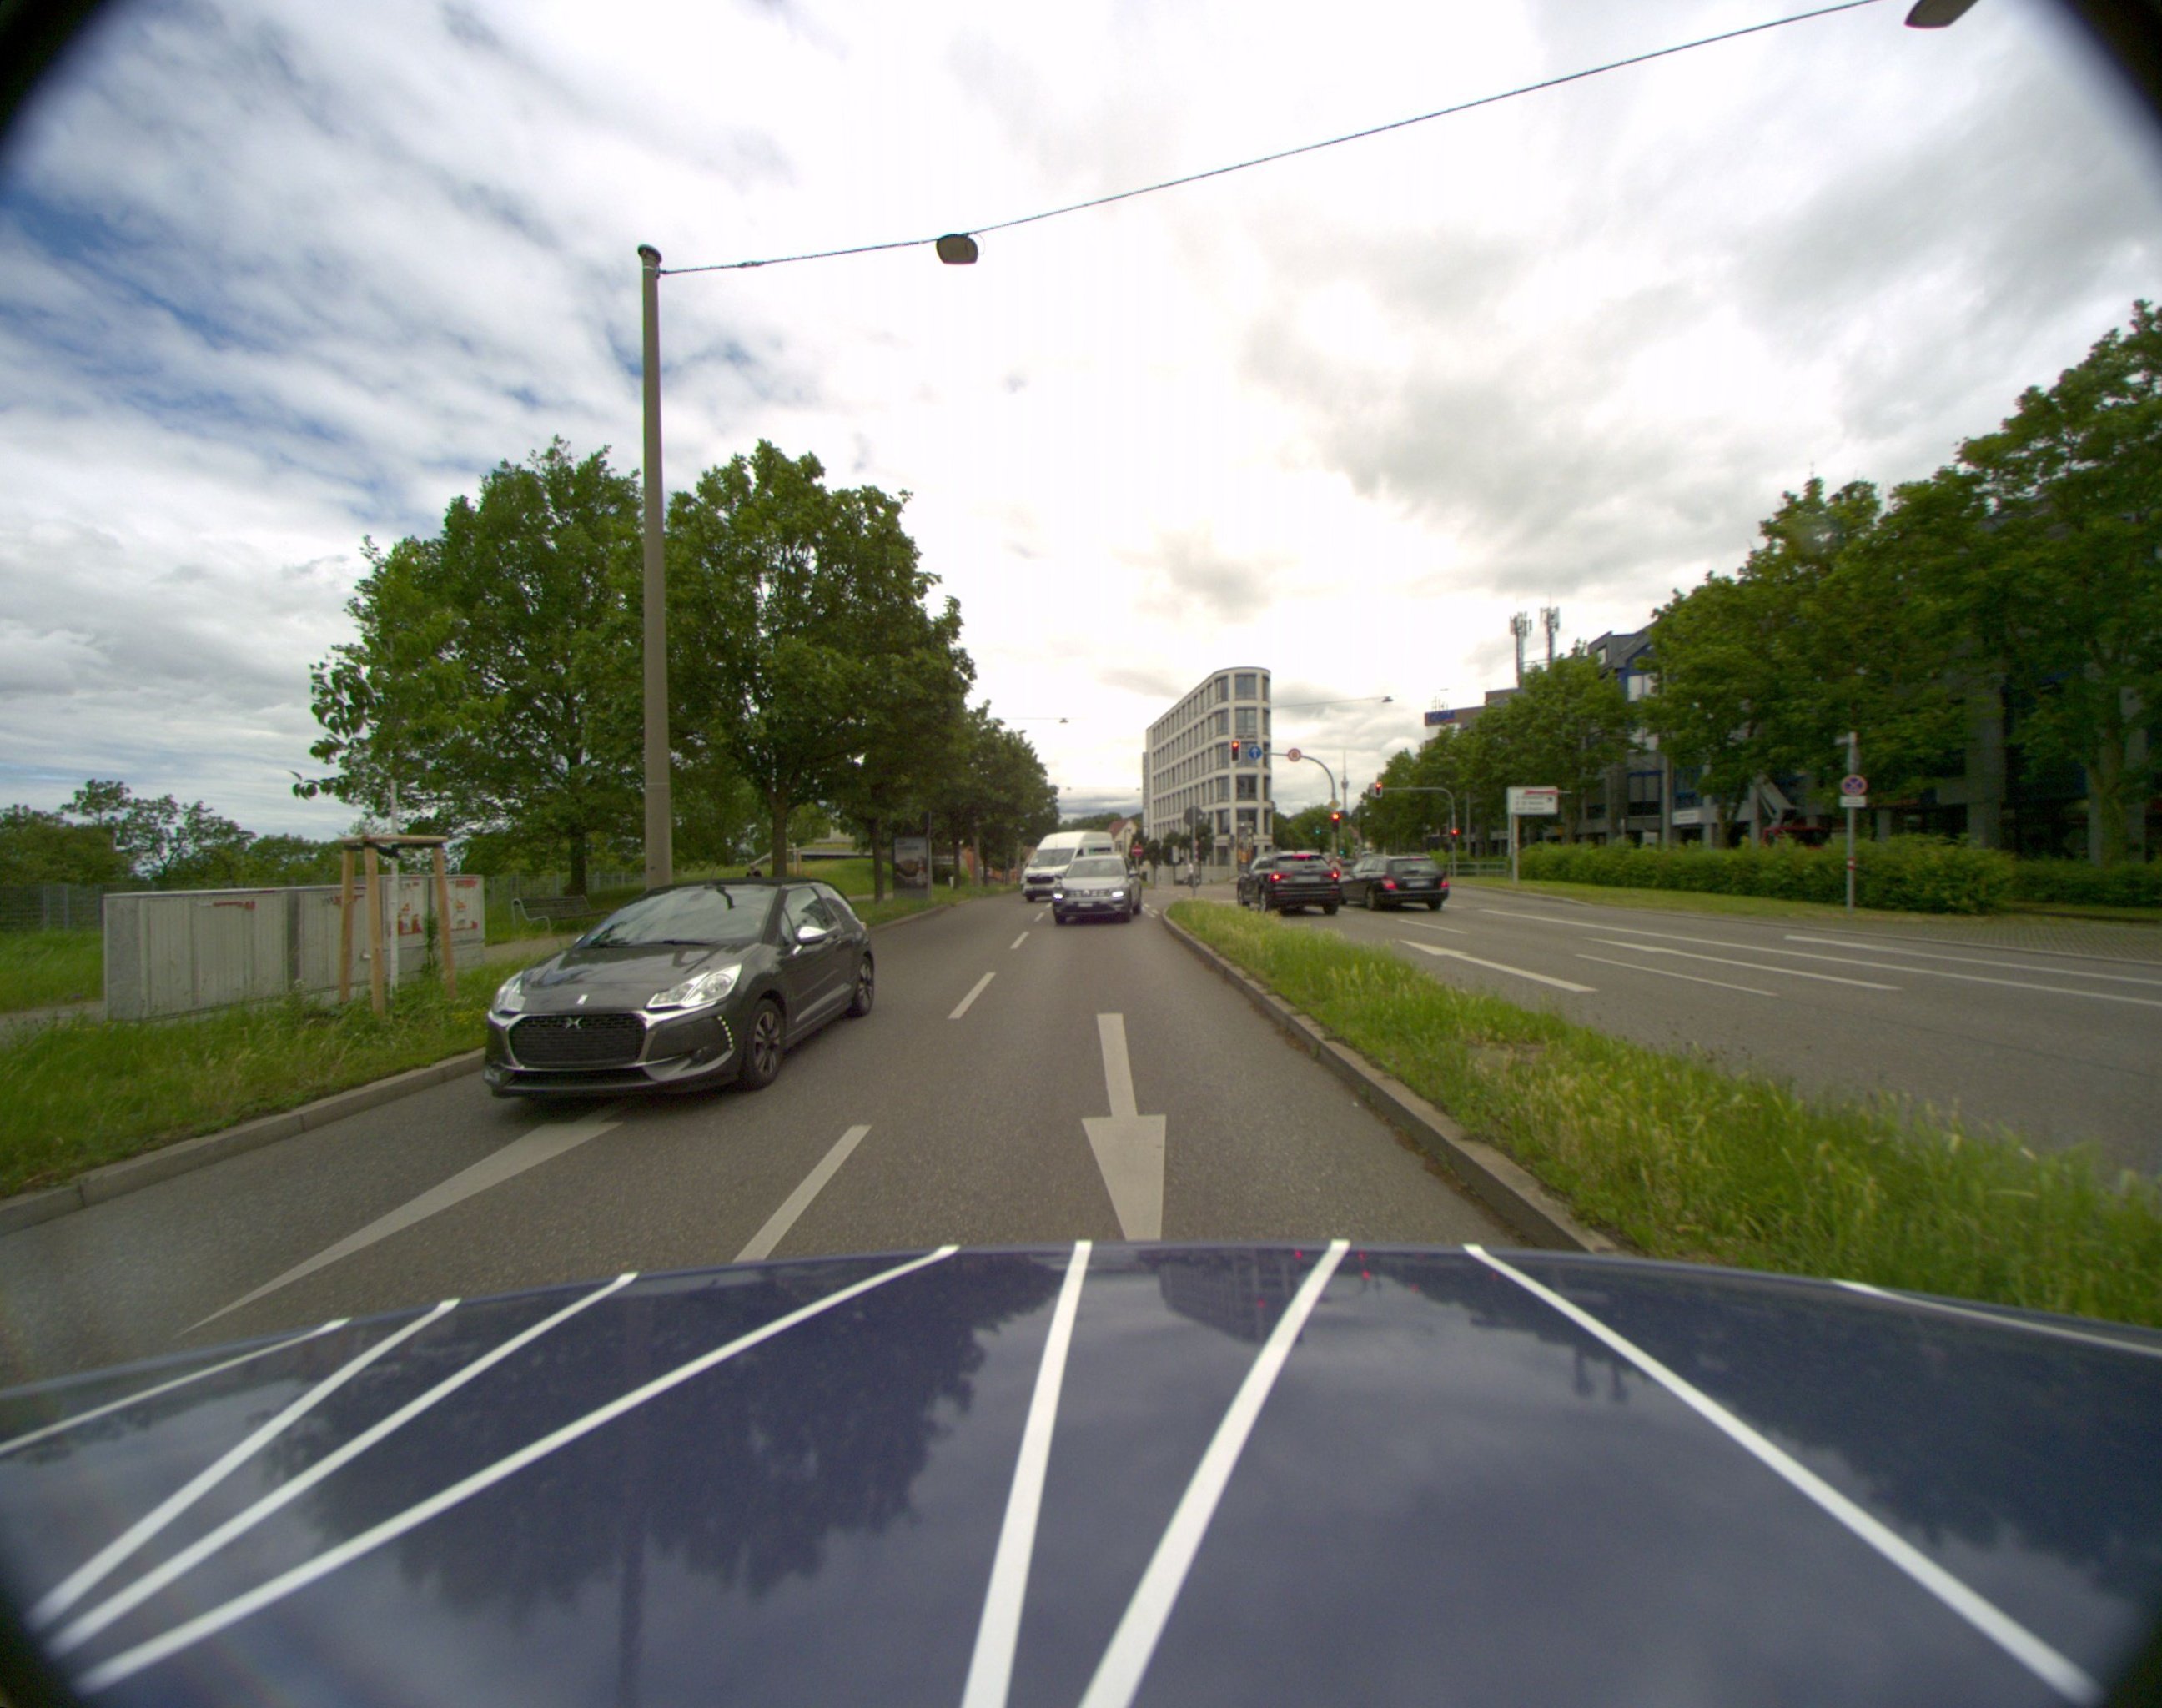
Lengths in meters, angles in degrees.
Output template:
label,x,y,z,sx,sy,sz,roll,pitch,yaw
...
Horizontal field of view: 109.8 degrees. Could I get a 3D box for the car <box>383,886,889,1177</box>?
label,x,y,z,sx,sy,sz,roll,pitch,yaw
car,-3.028,1.088,6.311,1.705,1.452,4.063,-2,-1,1

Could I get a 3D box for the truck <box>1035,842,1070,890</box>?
label,x,y,z,sx,sy,sz,roll,pitch,yaw
truck,-2.455,1.062,68.952,2.827,3.902,9.458,-2,-1,-1

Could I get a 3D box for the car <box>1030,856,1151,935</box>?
label,x,y,z,sx,sy,sz,roll,pitch,yaw
car,0.381,0.916,18.357,1.831,1.636,4.331,-2,-1,15

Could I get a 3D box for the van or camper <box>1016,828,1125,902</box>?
label,x,y,z,sx,sy,sz,roll,pitch,yaw
van or camper,-0.253,0.415,31.217,2.107,2.674,6.309,-2,-1,22

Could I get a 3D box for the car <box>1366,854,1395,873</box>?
label,x,y,z,sx,sy,sz,roll,pitch,yaw
car,26.610,0.821,67.612,1.785,1.528,4.400,-1,0,14

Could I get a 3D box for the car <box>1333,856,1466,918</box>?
label,x,y,z,sx,sy,sz,roll,pitch,yaw
car,8.319,0.824,20.328,1.787,1.417,4.397,-2,-1,2

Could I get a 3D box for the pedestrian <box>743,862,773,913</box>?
label,x,y,z,sx,sy,sz,roll,pitch,yaw
pedestrian,-10.319,1.068,24.294,0.542,1.594,0.702,4,-1,-1

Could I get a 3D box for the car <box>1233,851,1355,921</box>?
label,x,y,z,sx,sy,sz,roll,pitch,yaw
car,5.358,0.785,19.768,1.893,1.555,4.396,-2,-1,0

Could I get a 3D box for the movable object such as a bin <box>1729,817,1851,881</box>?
label,x,y,z,sx,sy,sz,roll,pitch,yaw
movable object such as a bin,29.898,-0.218,32.234,1.908,2.517,4.130,-1,0,12

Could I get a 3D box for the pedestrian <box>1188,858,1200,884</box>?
label,x,y,z,sx,sy,sz,roll,pitch,yaw
pedestrian,8.153,1.226,54.894,0.755,1.906,0.589,0,-1,16
